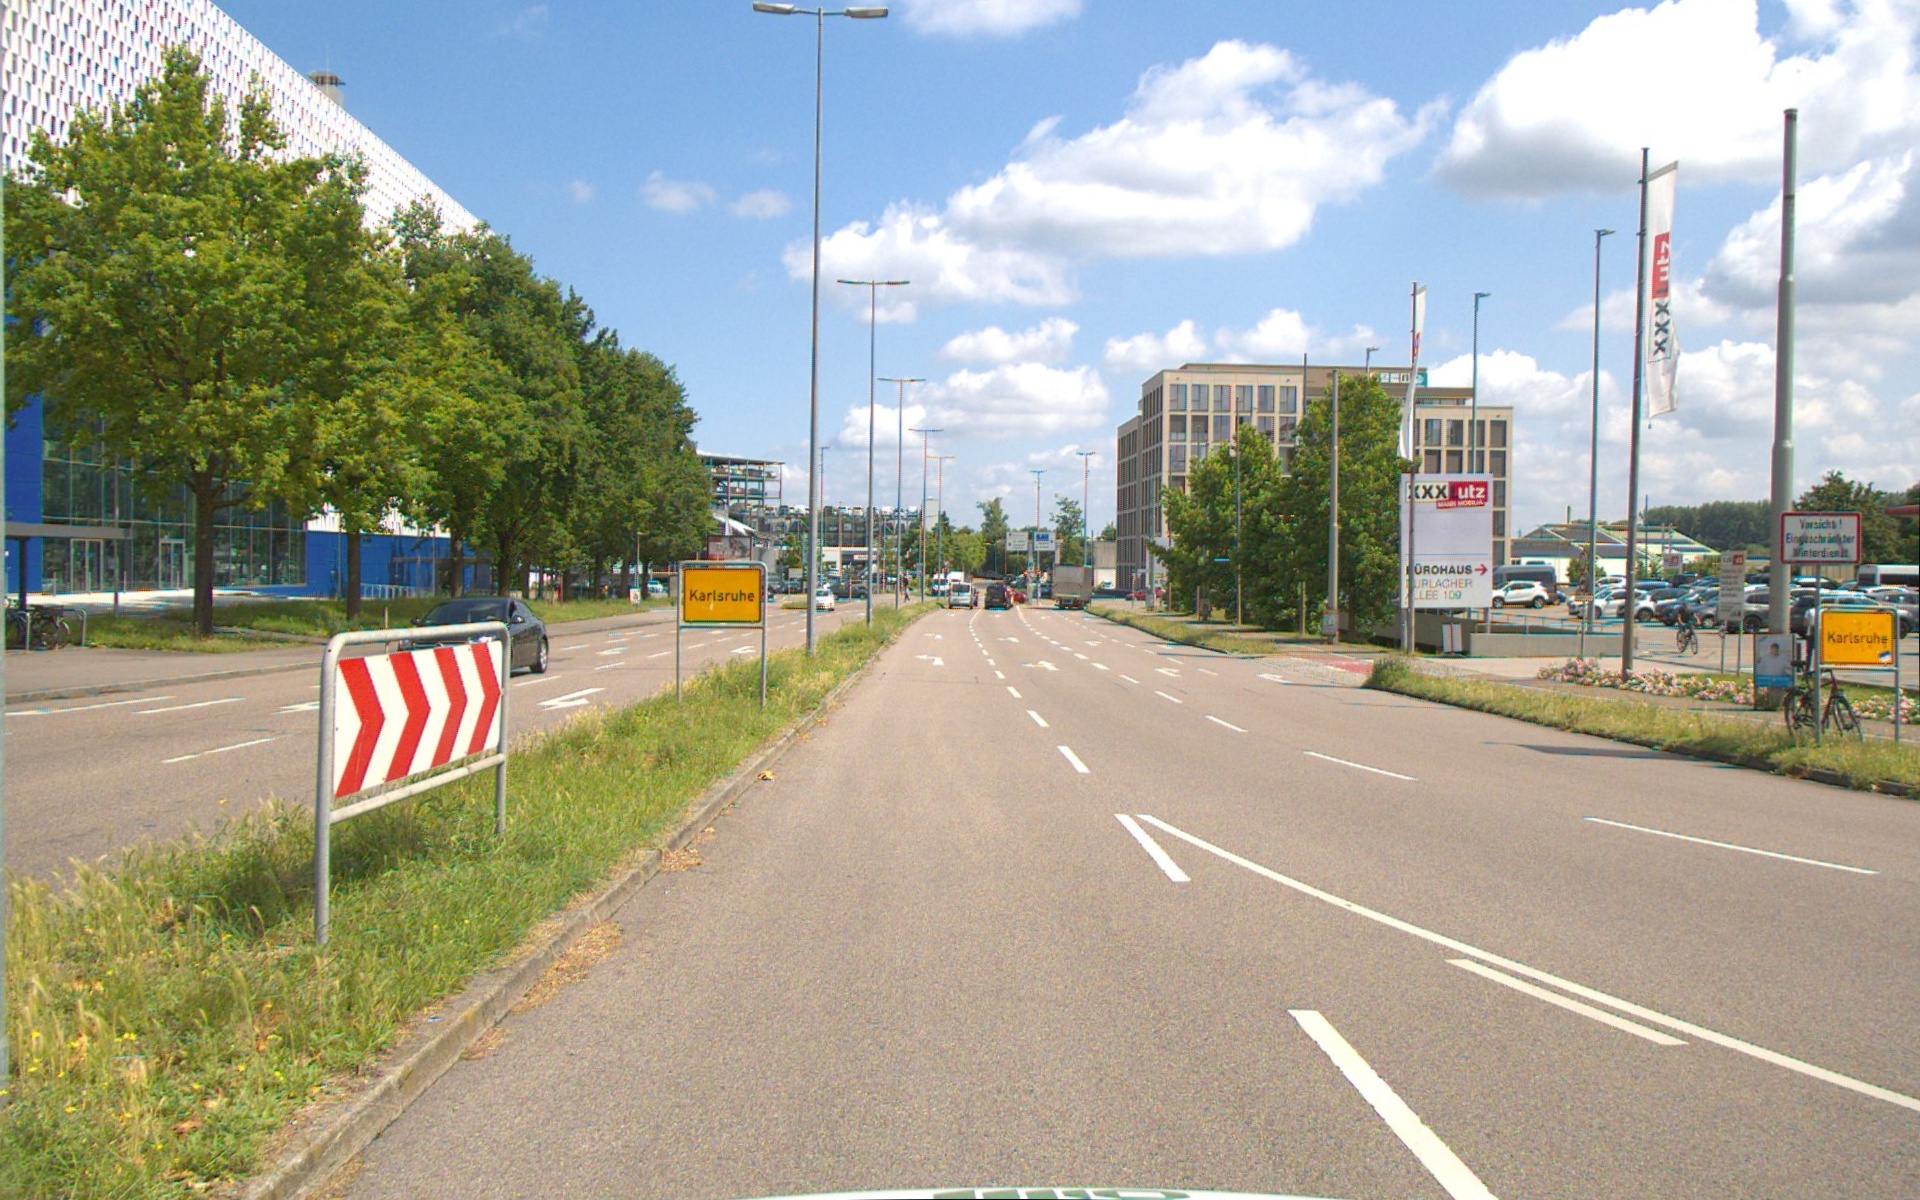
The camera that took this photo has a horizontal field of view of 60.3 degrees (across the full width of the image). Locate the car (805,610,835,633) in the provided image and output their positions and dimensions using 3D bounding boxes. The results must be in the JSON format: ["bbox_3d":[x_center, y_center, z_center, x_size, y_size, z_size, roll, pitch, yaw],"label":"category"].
[{"bbox_3d":[-9.252,1.415,109.345,1.609,1.454,3.670,-1,0,0],"label":"car"}]

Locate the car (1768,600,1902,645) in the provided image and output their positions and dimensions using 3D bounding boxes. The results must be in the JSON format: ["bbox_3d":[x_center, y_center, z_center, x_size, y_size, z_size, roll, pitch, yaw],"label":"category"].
[{"bbox_3d":[32.617,0.821,61.725,4.098,1.579,1.764,-1,1,-2],"label":"car"}]

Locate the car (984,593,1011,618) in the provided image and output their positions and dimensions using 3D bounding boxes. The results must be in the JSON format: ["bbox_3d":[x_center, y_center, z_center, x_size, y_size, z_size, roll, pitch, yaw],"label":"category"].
[{"bbox_3d":[2.910,0.413,128.414,1.781,1.840,4.002,2,0,4],"label":"car"}]

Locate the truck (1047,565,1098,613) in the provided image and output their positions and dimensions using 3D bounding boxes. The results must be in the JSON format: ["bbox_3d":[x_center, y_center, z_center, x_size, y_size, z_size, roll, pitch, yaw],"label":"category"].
[{"bbox_3d":[9.761,-0.974,142.665,3.063,4.009,8.866,1,1,13],"label":"truck"}]

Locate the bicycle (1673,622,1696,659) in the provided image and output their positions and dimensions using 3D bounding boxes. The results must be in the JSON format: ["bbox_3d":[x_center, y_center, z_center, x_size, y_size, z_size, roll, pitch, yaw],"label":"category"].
[{"bbox_3d":[23.195,1.290,52.932,0.611,1.086,1.966,0,1,26],"label":"bicycle"}]

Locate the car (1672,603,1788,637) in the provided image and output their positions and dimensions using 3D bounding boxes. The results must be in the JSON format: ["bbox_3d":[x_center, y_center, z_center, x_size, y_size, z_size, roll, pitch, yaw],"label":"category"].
[{"bbox_3d":[33.385,0.863,71.764,4.271,1.348,1.764,-1,1,-2],"label":"car"}]

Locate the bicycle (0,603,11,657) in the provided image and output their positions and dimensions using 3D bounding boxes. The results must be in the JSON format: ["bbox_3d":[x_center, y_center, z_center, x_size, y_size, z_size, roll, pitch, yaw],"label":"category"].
[{"bbox_3d":[-22.539,0.669,37.310,1.886,1.204,0.629,1,1,-1],"label":"bicycle"}]

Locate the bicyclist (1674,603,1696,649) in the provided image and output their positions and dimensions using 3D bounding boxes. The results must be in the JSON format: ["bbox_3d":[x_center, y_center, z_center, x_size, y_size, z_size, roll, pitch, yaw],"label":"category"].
[{"bbox_3d":[23.203,0.820,52.942,0.603,1.437,0.714,1,1,26],"label":"bicyclist"}]

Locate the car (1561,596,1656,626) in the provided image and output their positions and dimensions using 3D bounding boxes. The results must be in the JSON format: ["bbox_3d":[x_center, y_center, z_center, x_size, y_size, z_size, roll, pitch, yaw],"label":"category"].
[{"bbox_3d":[33.006,0.547,84.277,4.100,1.413,1.892,-1,1,-4],"label":"car"}]

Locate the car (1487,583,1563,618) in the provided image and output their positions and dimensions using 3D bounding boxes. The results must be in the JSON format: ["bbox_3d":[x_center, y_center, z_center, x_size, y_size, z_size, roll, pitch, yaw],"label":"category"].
[{"bbox_3d":[33.995,0.011,99.561,3.905,2.049,2.000,-1,0,0],"label":"car"}]

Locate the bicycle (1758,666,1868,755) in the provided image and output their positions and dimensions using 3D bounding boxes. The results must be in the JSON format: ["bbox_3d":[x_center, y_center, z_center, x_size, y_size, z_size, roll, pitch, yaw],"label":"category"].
[{"bbox_3d":[10.251,1.313,19.919,0.506,0.969,1.543,1,0,-1],"label":"bicycle"}]

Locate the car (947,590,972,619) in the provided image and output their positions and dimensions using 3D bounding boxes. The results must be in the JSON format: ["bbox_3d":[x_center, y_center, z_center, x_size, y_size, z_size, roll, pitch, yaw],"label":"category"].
[{"bbox_3d":[-0.053,0.307,124.747,1.818,2.053,4.000,2,1,0],"label":"car"}]

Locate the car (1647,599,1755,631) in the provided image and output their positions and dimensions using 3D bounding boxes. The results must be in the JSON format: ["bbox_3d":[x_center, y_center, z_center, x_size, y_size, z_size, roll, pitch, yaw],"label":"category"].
[{"bbox_3d":[33.191,0.663,74.180,4.098,1.348,1.688,-1,0,-1],"label":"car"}]

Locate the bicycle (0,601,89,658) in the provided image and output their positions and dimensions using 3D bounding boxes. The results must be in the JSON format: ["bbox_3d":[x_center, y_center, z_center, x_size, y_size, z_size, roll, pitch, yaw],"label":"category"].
[{"bbox_3d":[-20.310,0.639,36.425,1.886,1.203,0.629,1,1,-1],"label":"bicycle"}]

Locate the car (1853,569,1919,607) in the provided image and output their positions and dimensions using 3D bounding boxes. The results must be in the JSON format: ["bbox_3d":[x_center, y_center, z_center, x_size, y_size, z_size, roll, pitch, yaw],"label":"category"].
[{"bbox_3d":[51.543,-0.647,90.826,3.905,1.985,2.000,1,1,-1],"label":"car"}]

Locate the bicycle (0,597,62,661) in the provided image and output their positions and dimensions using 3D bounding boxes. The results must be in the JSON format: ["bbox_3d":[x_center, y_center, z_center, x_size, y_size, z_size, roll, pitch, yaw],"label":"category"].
[{"bbox_3d":[-20.289,0.607,35.273,1.886,1.295,0.629,1,1,-1],"label":"bicycle"}]

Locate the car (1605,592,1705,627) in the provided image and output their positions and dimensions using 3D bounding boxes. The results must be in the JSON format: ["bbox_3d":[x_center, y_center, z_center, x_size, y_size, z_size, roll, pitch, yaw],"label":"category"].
[{"bbox_3d":[33.375,0.455,79.491,3.907,1.598,1.999,1,0,-3],"label":"car"}]

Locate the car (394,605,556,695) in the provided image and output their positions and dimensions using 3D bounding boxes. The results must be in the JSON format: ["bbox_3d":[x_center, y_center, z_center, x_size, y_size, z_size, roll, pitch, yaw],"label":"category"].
[{"bbox_3d":[-8.595,0.843,29.693,1.630,1.446,4.518,-1,0,-1],"label":"car"}]

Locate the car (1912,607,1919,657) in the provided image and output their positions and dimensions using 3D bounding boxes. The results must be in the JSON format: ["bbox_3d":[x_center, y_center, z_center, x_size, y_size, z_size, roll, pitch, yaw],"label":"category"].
[{"bbox_3d":[32.116,0.984,51.528,3.974,1.558,1.741,-1,0,-4],"label":"car"}]

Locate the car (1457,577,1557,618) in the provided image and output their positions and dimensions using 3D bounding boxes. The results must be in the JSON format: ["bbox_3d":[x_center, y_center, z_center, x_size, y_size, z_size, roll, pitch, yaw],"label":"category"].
[{"bbox_3d":[34.037,-0.164,102.951,5.545,2.407,2.061,1,0,-2],"label":"car"}]

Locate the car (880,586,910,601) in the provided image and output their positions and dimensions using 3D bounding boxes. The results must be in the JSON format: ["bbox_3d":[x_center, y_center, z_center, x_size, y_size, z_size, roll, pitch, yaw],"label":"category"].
[{"bbox_3d":[-8.809,-0.836,223.344,3.909,1.959,1.825,1,0,-5],"label":"car"}]

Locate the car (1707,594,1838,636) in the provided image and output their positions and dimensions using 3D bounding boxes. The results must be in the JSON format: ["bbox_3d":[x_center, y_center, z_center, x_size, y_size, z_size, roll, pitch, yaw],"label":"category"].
[{"bbox_3d":[32.713,0.580,66.667,4.271,1.601,2.030,-1,1,-2],"label":"car"}]

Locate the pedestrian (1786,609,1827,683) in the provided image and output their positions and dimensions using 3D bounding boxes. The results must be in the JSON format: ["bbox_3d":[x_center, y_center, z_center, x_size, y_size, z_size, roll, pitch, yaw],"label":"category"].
[{"bbox_3d":[21.546,1.161,42.097,0.853,1.813,0.783,2,1,30],"label":"pedestrian"}]

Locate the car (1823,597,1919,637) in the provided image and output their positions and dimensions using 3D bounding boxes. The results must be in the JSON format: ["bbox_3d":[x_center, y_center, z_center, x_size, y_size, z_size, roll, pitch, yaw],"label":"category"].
[{"bbox_3d":[37.387,0.694,66.792,4.154,1.489,1.760,1,1,-2],"label":"car"}]
